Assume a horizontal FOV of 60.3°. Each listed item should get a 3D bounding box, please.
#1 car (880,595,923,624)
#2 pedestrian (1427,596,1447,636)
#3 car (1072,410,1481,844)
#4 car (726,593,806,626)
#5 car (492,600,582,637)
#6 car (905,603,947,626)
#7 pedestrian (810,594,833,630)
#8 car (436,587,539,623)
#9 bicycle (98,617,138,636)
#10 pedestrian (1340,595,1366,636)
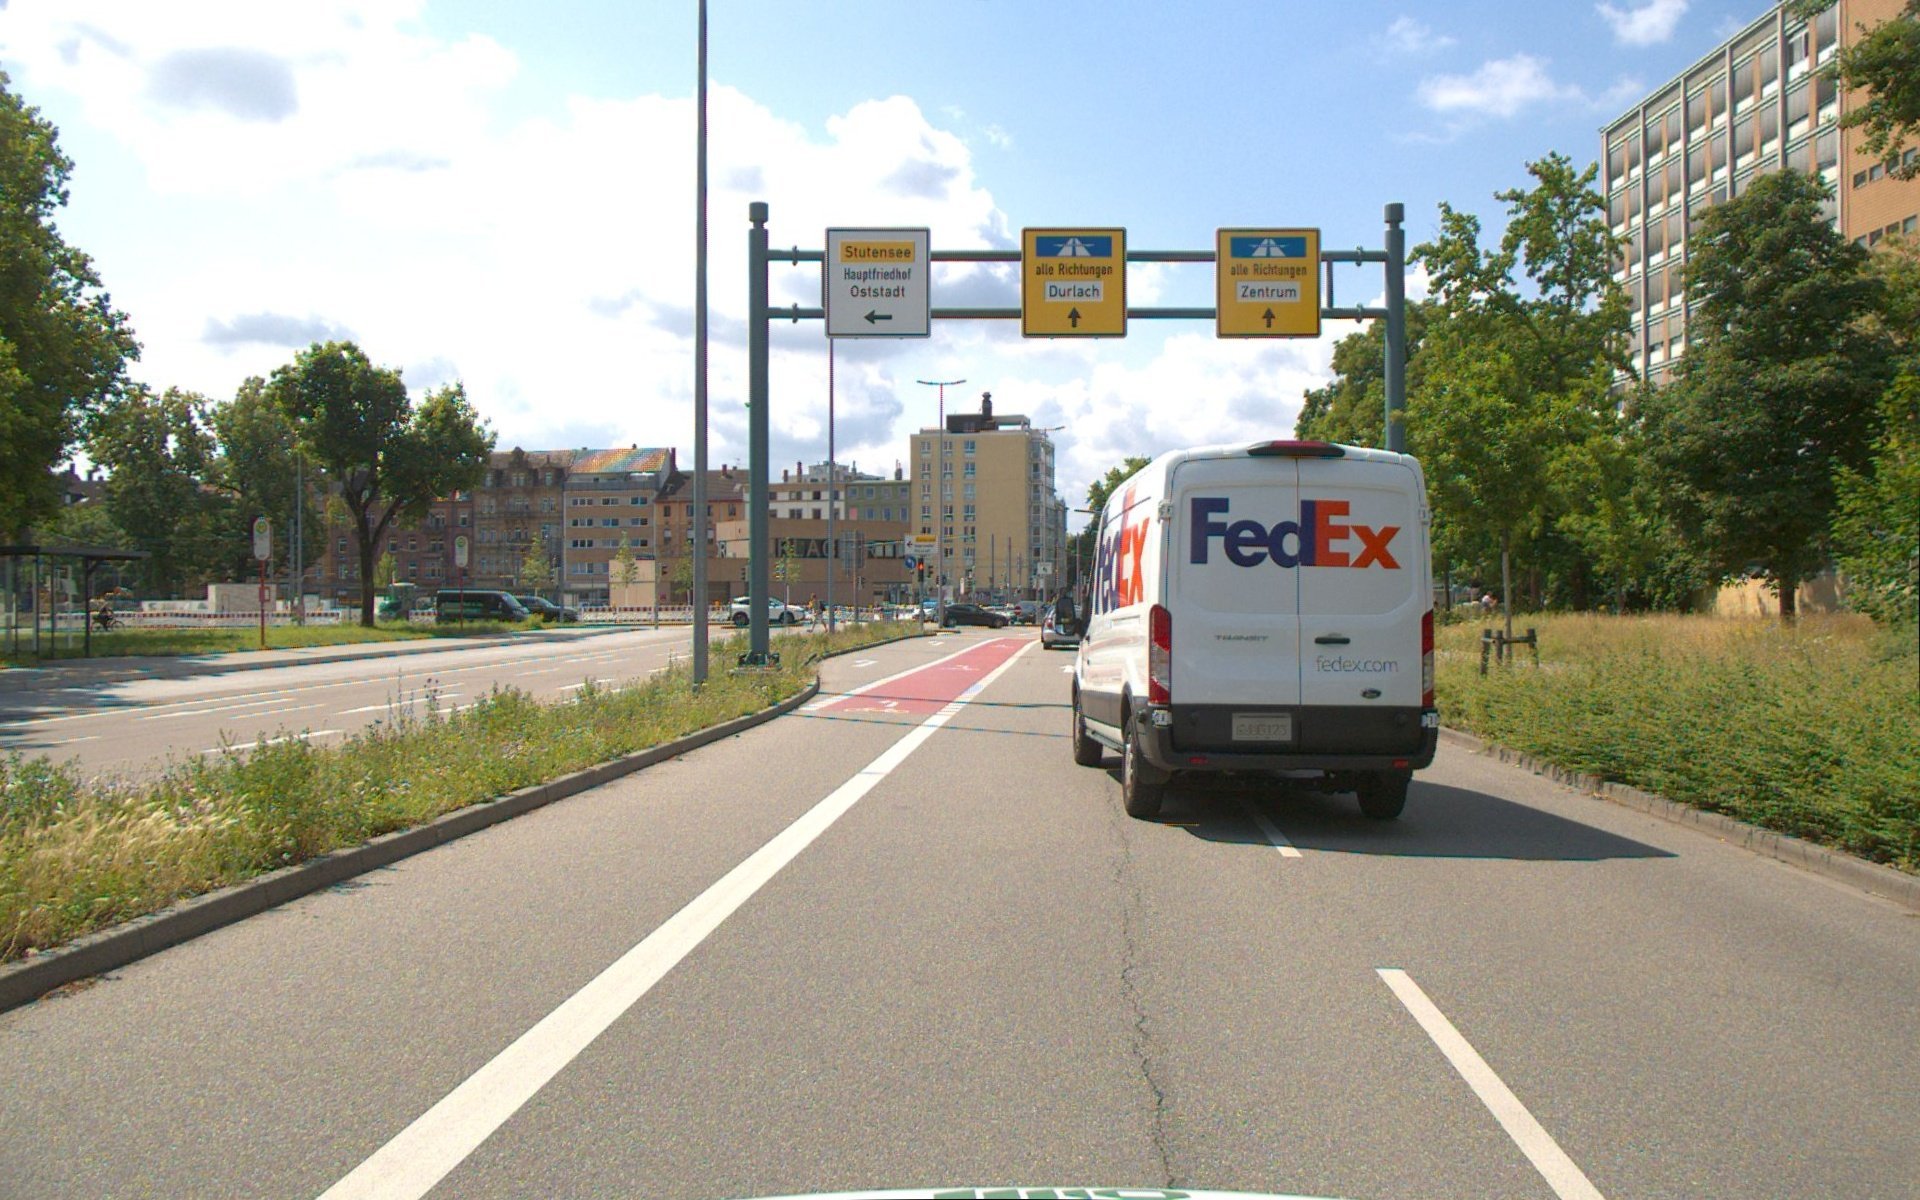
[{"bbox_3d":[-4.234,0.690,120.869,1.951,2.049,4.002,0,-1,17],"label":"car"},{"bbox_3d":[25.274,0.852,87.592,0.829,2.094,0.739,0,0,31],"label":"pedestrian"},{"bbox_3d":[2.168,0.167,13.161,2.097,2.699,5.703,0,0,-1],"label":"car"},{"bbox_3d":[-10.901,0.557,93.275,4.269,1.825,1.999,0,-1,-1],"label":"car"},{"bbox_3d":[-23.910,1.045,93.512,4.535,2.049,2.099,0,-1,-1],"label":"car"},{"bbox_3d":[-2.437,1.071,119.155,1.861,1.613,4.002,0,-1,17],"label":"car"},{"bbox_3d":[-6.100,0.539,72.884,0.863,1.587,0.550,0,0,-29],"label":"pedestrian"},{"bbox_3d":[-25.165,0.264,88.206,4.906,1.912,1.929,0,0,0],"label":"car"},{"bbox_3d":[-46.524,1.451,91.400,1.882,1.048,0.547,0,0,-4],"label":"bicycle"},{"bbox_3d":[15.096,0.598,63.546,0.827,1.566,0.835,0,0,3],"label":"pedestrian"}]
